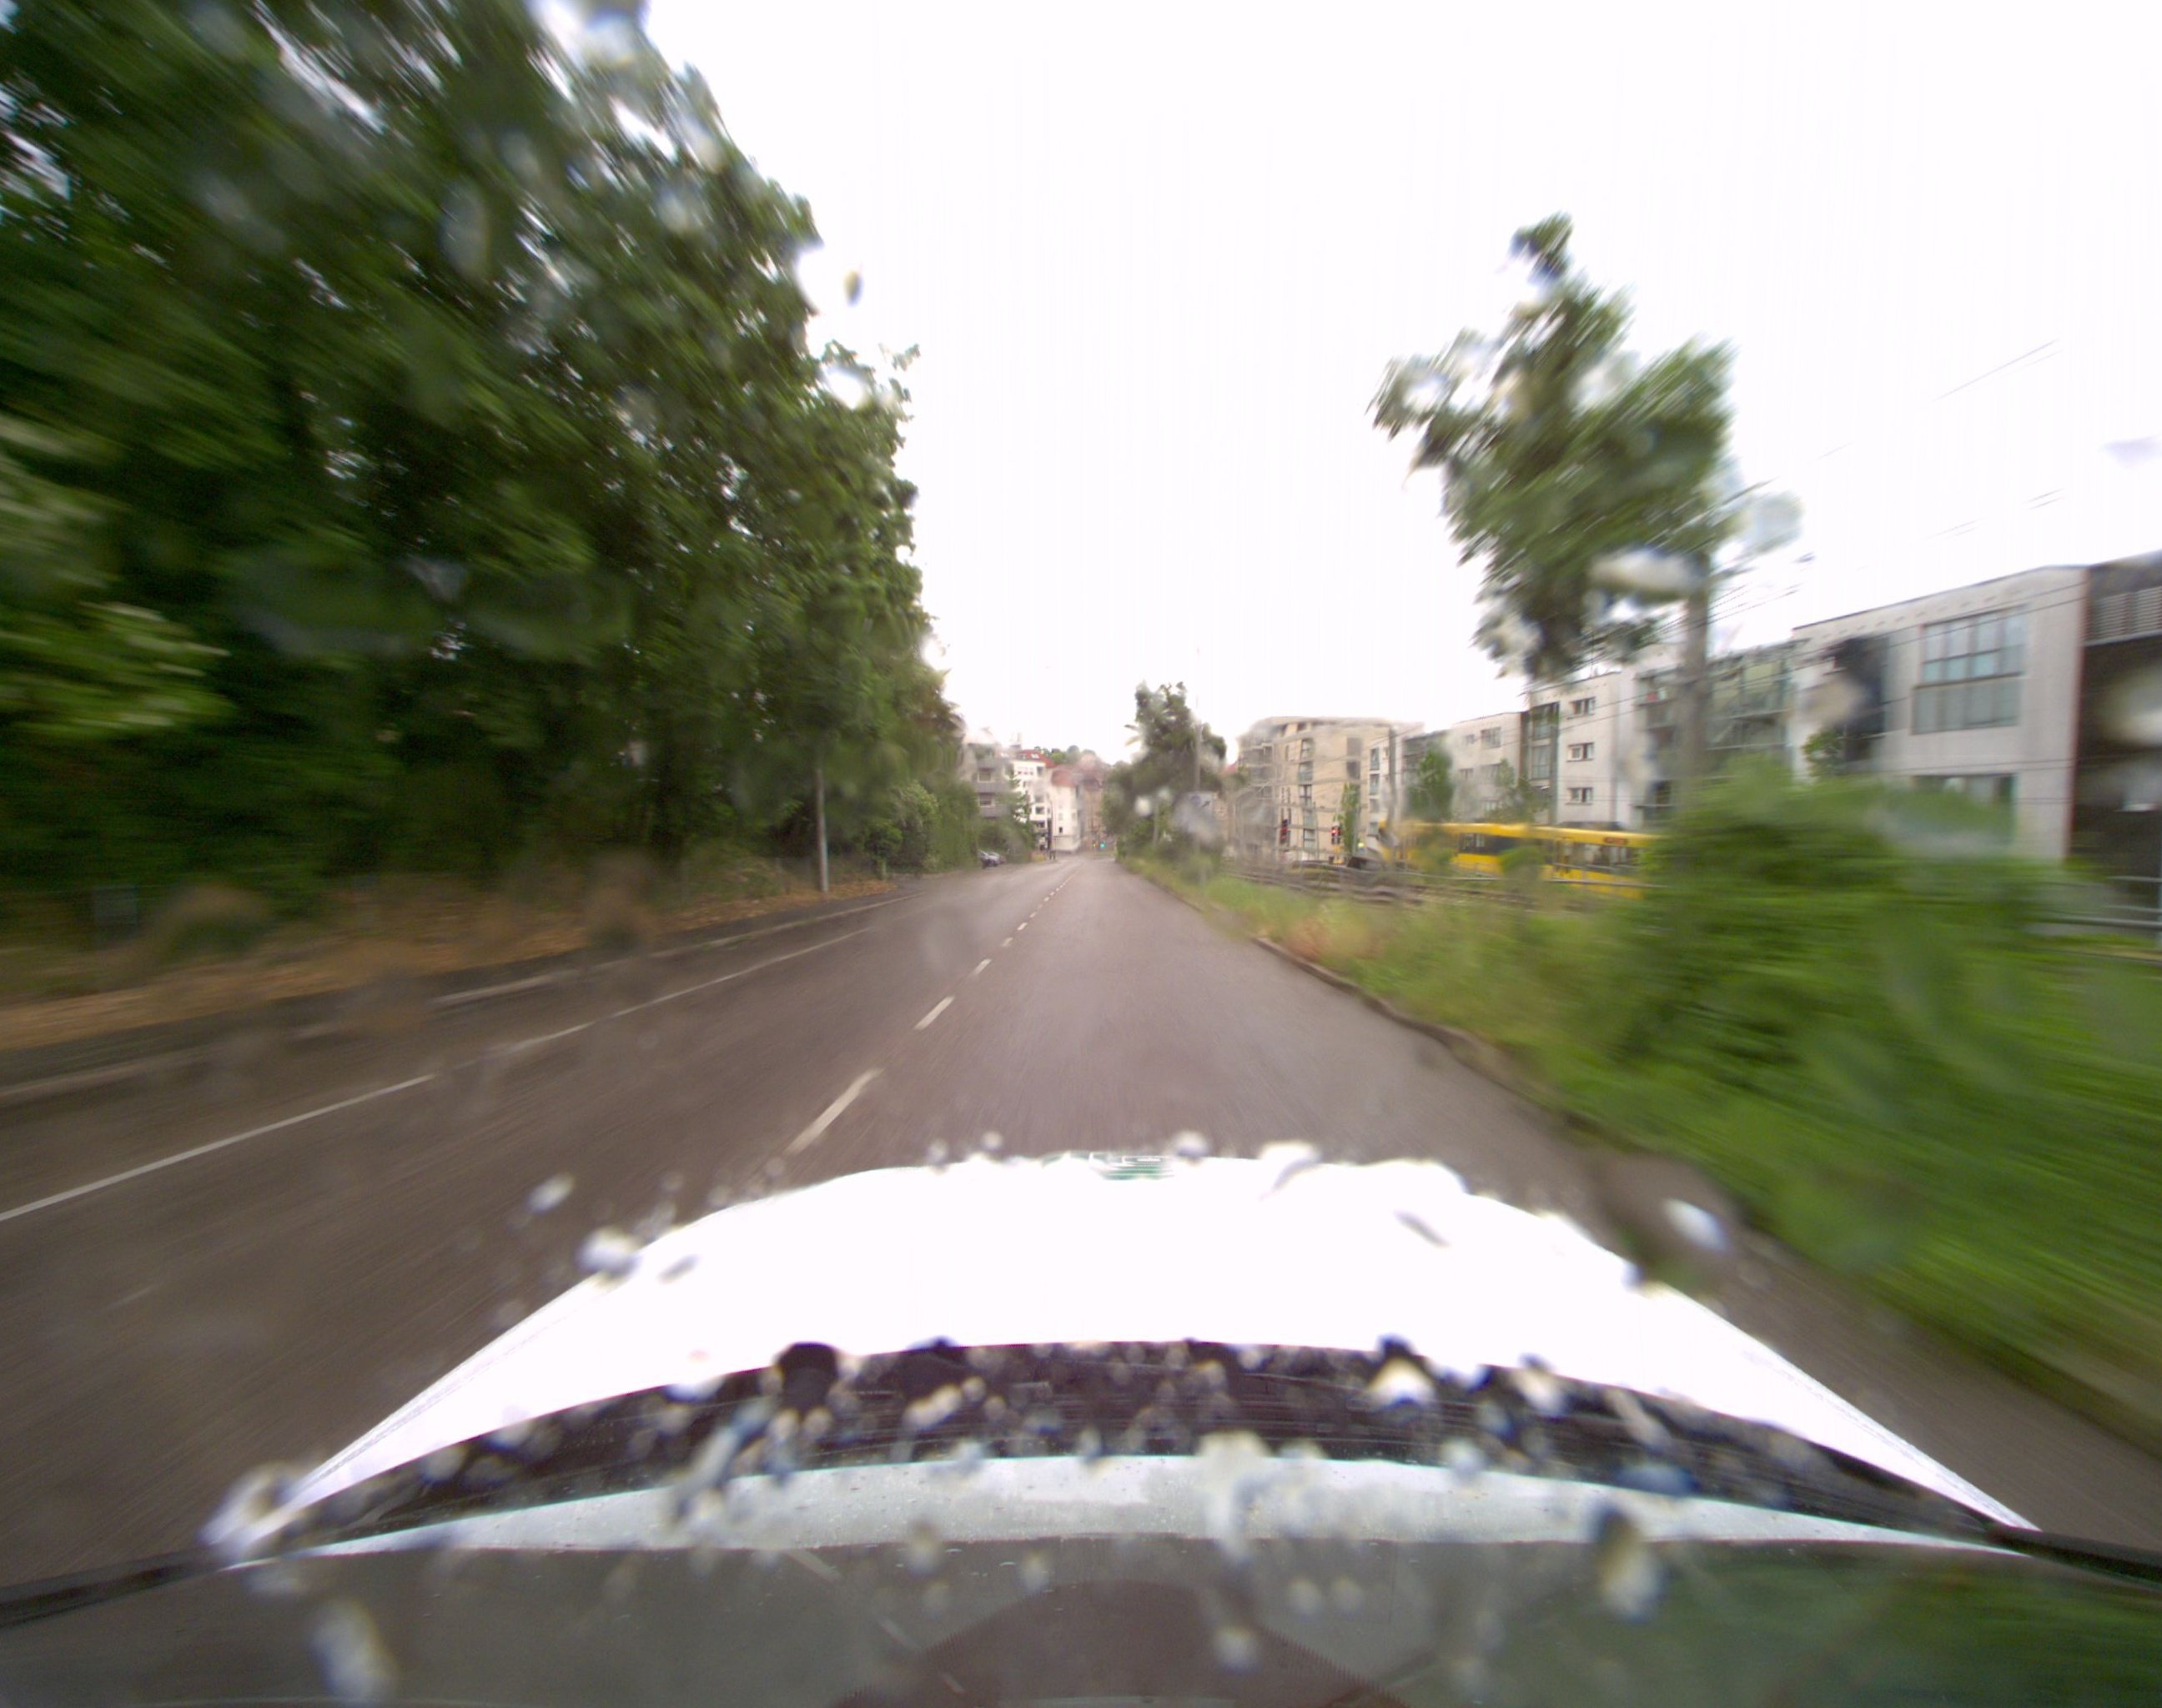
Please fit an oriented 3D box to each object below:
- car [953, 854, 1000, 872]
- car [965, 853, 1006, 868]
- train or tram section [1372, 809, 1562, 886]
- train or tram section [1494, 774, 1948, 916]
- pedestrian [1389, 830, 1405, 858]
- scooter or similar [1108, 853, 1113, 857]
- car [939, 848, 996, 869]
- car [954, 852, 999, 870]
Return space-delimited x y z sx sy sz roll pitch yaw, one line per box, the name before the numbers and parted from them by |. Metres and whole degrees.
car | -8.194 0.717 64.101 3.626 1.405 1.713 0 -1 -6
car | -9.108 0.600 77.522 3.617 1.407 1.785 0 -1 2
train or tram section | 23.187 -0.383 51.237 3.319 3.947 18.816 0 0 1
train or tram section | 22.859 -0.289 32.504 3.319 3.947 19.284 0 0 1
pedestrian | 21.295 -0.644 54.885 0.719 1.880 0.817 0 -1 1
scooter or similar | 5.486 0.192 150.947 0.480 0.761 1.338 0 0 29
car | -9.376 0.359 67.414 4.434 1.602 1.814 0 1 0
car | -9.634 0.635 75.223 3.978 1.559 1.878 0 -1 -4
